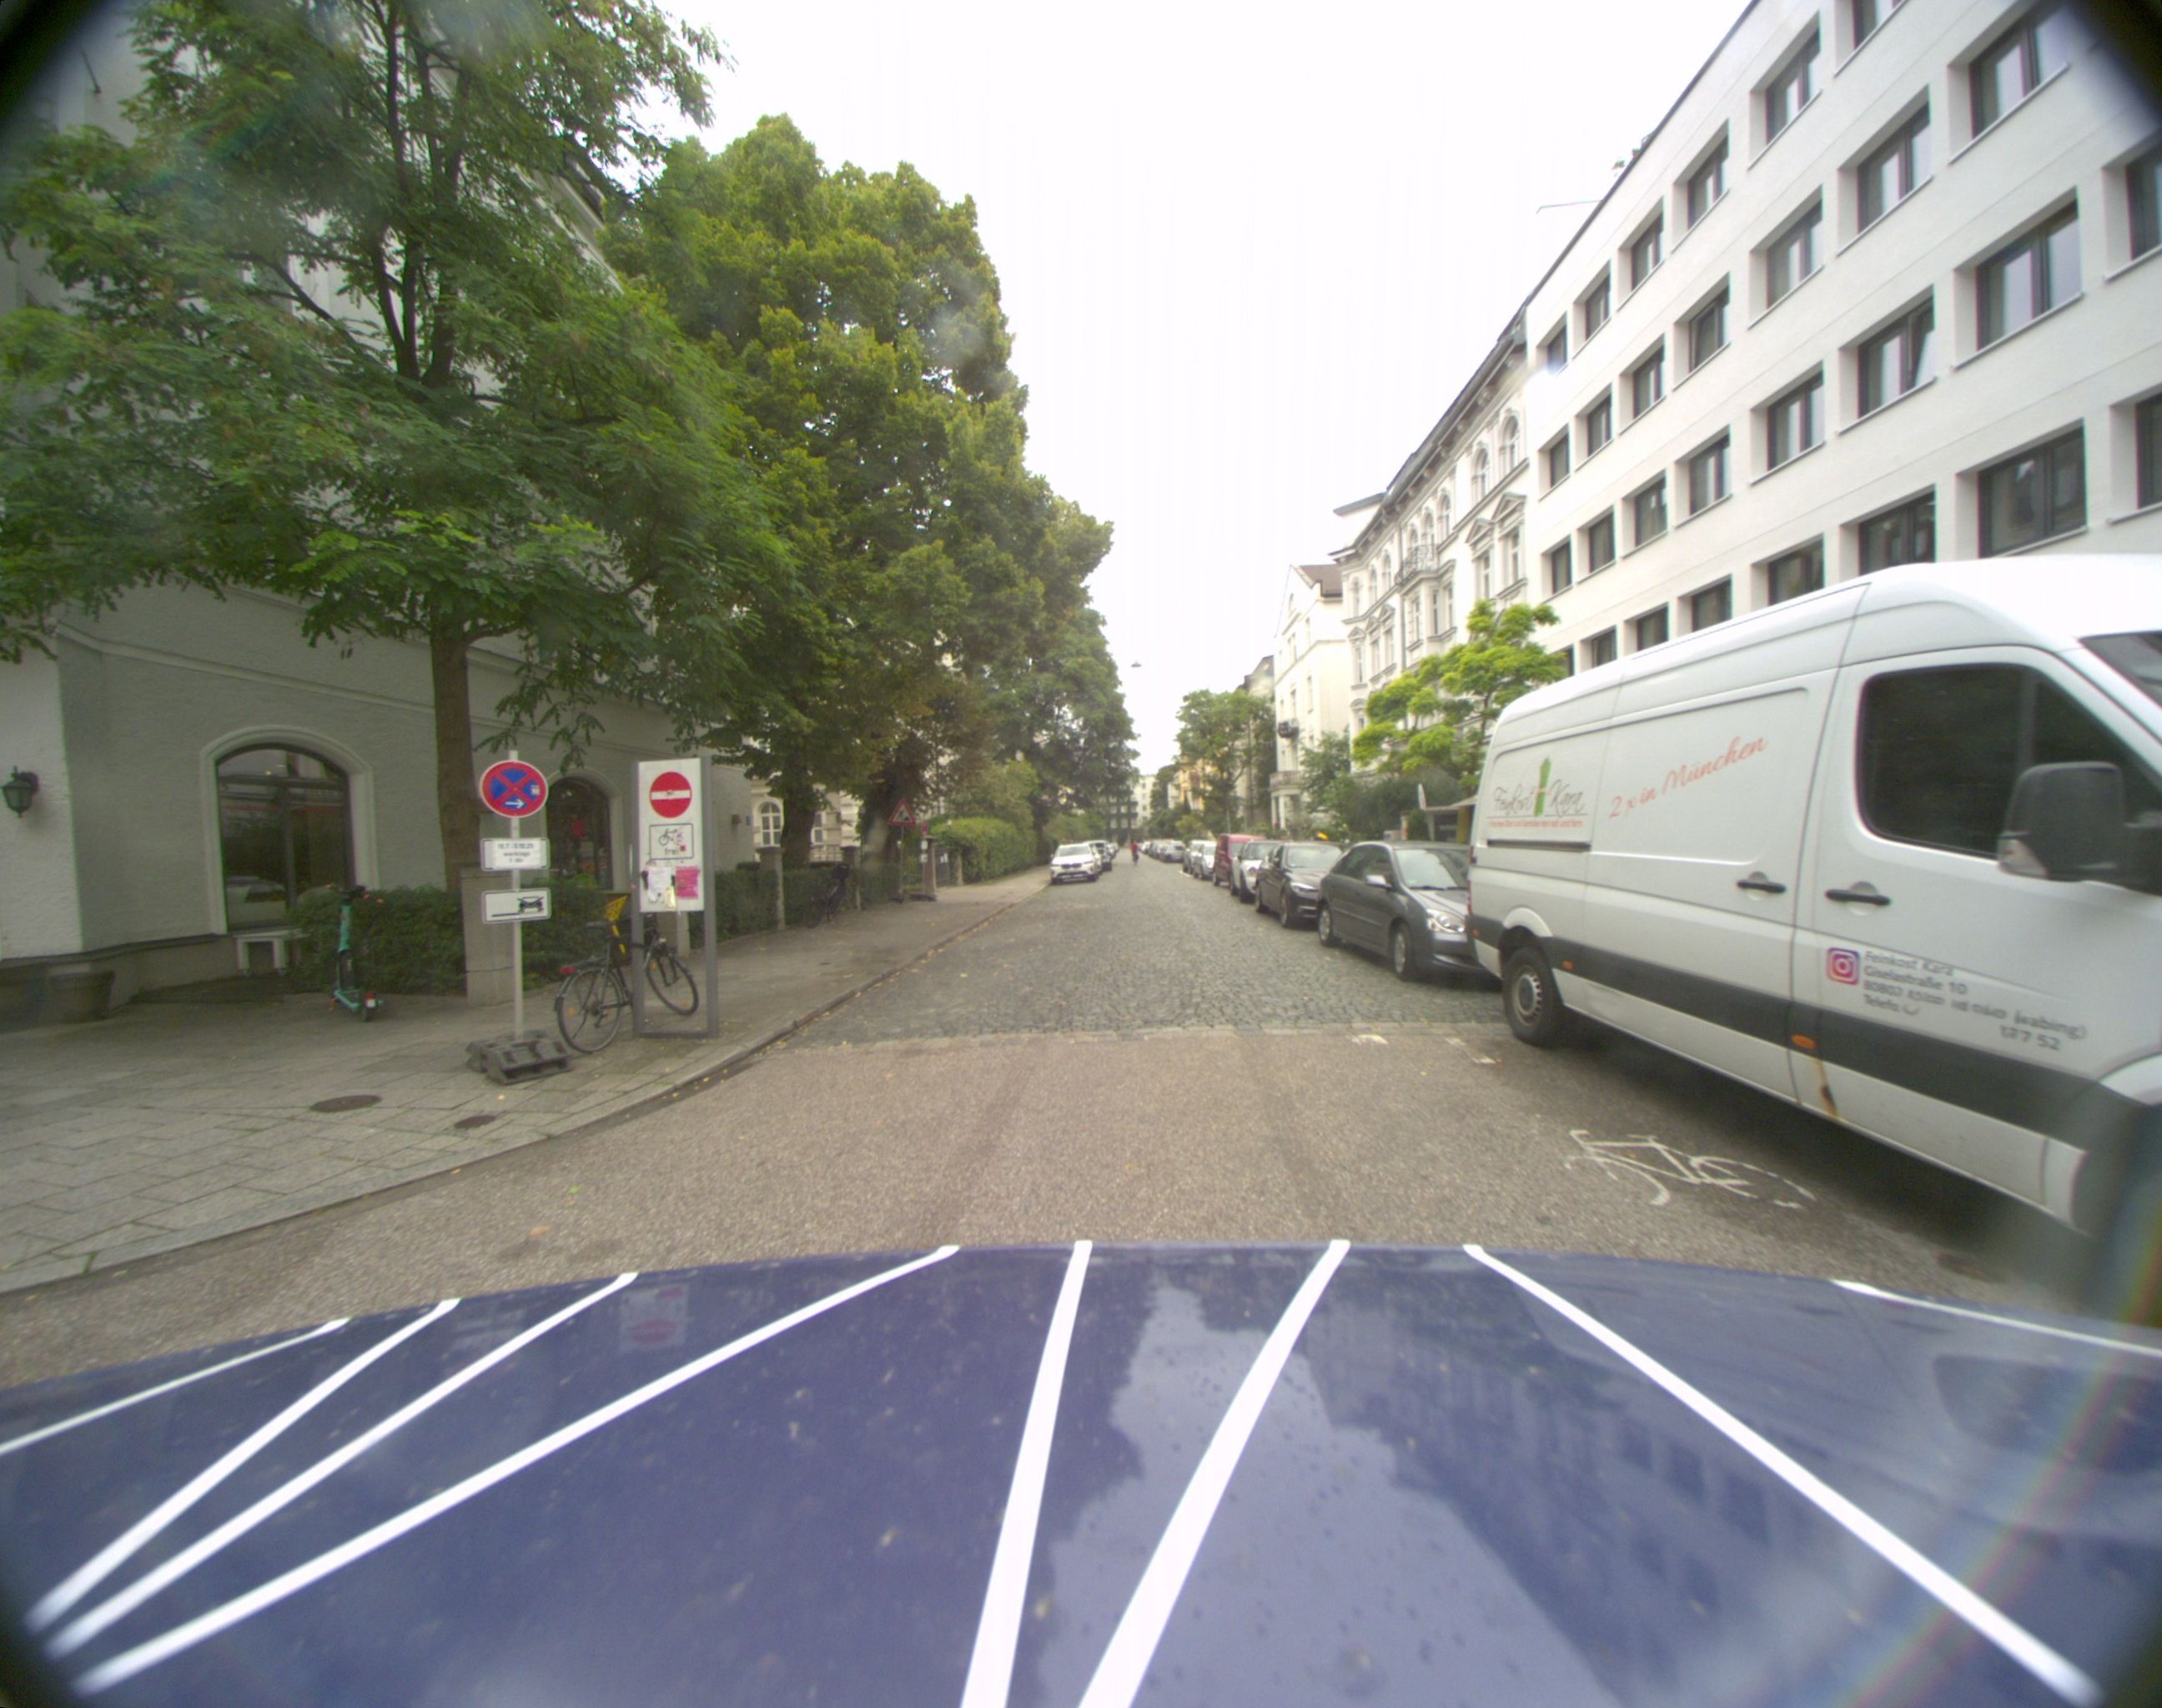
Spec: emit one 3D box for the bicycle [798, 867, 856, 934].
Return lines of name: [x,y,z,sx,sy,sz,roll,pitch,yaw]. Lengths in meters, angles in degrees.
bicycle: [-5.117,0.906,15.404,0.428,1.191,1.730,3,2,4]

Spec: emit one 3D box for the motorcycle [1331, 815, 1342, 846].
motorcycle: [9.829,-0.907,29.191,0.331,1.173,1.627,-2,2,19]

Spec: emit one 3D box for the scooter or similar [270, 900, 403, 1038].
scooter or similar: [-7.491,1.111,7.631,1.603,1.166,0.405,2,4,27]

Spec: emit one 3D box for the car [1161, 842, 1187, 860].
car: [7.793,-0.261,63.922,1.998,1.324,4.000,-2,1,4]

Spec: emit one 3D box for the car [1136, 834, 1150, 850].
car: [8.371,-1.611,102.710,1.762,2.002,4.000,-2,2,4]

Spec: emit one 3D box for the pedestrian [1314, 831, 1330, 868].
pedestrian: [10.629,-0.199,33.503,0.577,1.637,0.822,-1,1,10]

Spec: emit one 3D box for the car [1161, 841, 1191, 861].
car: [7.329,-0.269,58.965,1.885,1.411,4.808,-1,2,3]

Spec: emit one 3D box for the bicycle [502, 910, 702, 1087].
bicycle: [-3.918,1.122,6.376,0.389,1.140,1.590,-2,2,10]

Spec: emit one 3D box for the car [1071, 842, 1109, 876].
car: [0.531,0.203,40.268,1.751,1.591,4.471,-2,2,3]

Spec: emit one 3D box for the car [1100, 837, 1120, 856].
car: [3.292,-0.862,84.968,1.998,2.002,4.000,-2,2,4]

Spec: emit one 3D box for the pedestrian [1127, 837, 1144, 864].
pedestrian: [3.846,-0.256,53.261,1.105,1.768,1.263,-2,2,4]

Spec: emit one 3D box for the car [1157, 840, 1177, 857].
car: [8.099,-0.517,71.637,1.713,1.417,4.000,-2,2,4]

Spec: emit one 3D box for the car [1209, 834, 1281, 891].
car: [5.256,0.204,24.805,1.721,1.713,3.898,-1,2,3]

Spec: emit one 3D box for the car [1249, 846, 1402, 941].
car: [4.384,0.601,14.343,1.729,1.456,4.473,0,1,4]

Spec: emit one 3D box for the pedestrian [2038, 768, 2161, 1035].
pedestrian: [7.678,0.314,5.441,0.615,1.830,0.813,-2,2,-3]

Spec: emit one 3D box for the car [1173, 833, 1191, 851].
car: [11.689,-1.422,88.133,1.762,2.002,4.000,-2,2,4]

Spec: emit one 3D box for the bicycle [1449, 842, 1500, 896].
bicycle: [9.319,0.329,18.056,0.361,1.168,1.911,-2,2,6]

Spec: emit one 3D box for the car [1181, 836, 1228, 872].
car: [5.984,-0.036,37.144,1.693,1.563,4.067,-3,2,2]

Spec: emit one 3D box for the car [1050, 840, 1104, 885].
car: [-0.095,0.300,32.983,1.925,1.676,4.633,-2,2,4]

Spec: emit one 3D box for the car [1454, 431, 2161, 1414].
car: [3.912,0.135,3.396,1.981,2.560,5.794,0,2,4]

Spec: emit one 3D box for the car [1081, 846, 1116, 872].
car: [1.076,0.262,45.304,1.923,1.291,4.808,-3,1,2]

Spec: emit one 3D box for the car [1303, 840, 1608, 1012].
car: [4.014,0.627,8.941,1.665,1.474,3.981,-3,2,1]

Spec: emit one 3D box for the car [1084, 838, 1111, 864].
car: [1.283,-0.280,58.244,1.818,1.809,4.808,-4,1,3]

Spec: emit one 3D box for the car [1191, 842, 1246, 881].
car: [5.533,0.258,30.928,1.635,1.386,3.815,-3,2,2]

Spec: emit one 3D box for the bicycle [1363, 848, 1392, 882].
bicycle: [9.856,0.345,25.330,0.258,1.072,1.686,-3,0,-1]

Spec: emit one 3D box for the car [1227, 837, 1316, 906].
car: [4.742,0.363,19.356,1.696,1.495,3.778,-2,2,7]

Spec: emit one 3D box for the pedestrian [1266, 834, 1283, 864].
pedestrian: [10.789,-0.280,42.328,0.665,1.619,0.670,-1,2,35]
